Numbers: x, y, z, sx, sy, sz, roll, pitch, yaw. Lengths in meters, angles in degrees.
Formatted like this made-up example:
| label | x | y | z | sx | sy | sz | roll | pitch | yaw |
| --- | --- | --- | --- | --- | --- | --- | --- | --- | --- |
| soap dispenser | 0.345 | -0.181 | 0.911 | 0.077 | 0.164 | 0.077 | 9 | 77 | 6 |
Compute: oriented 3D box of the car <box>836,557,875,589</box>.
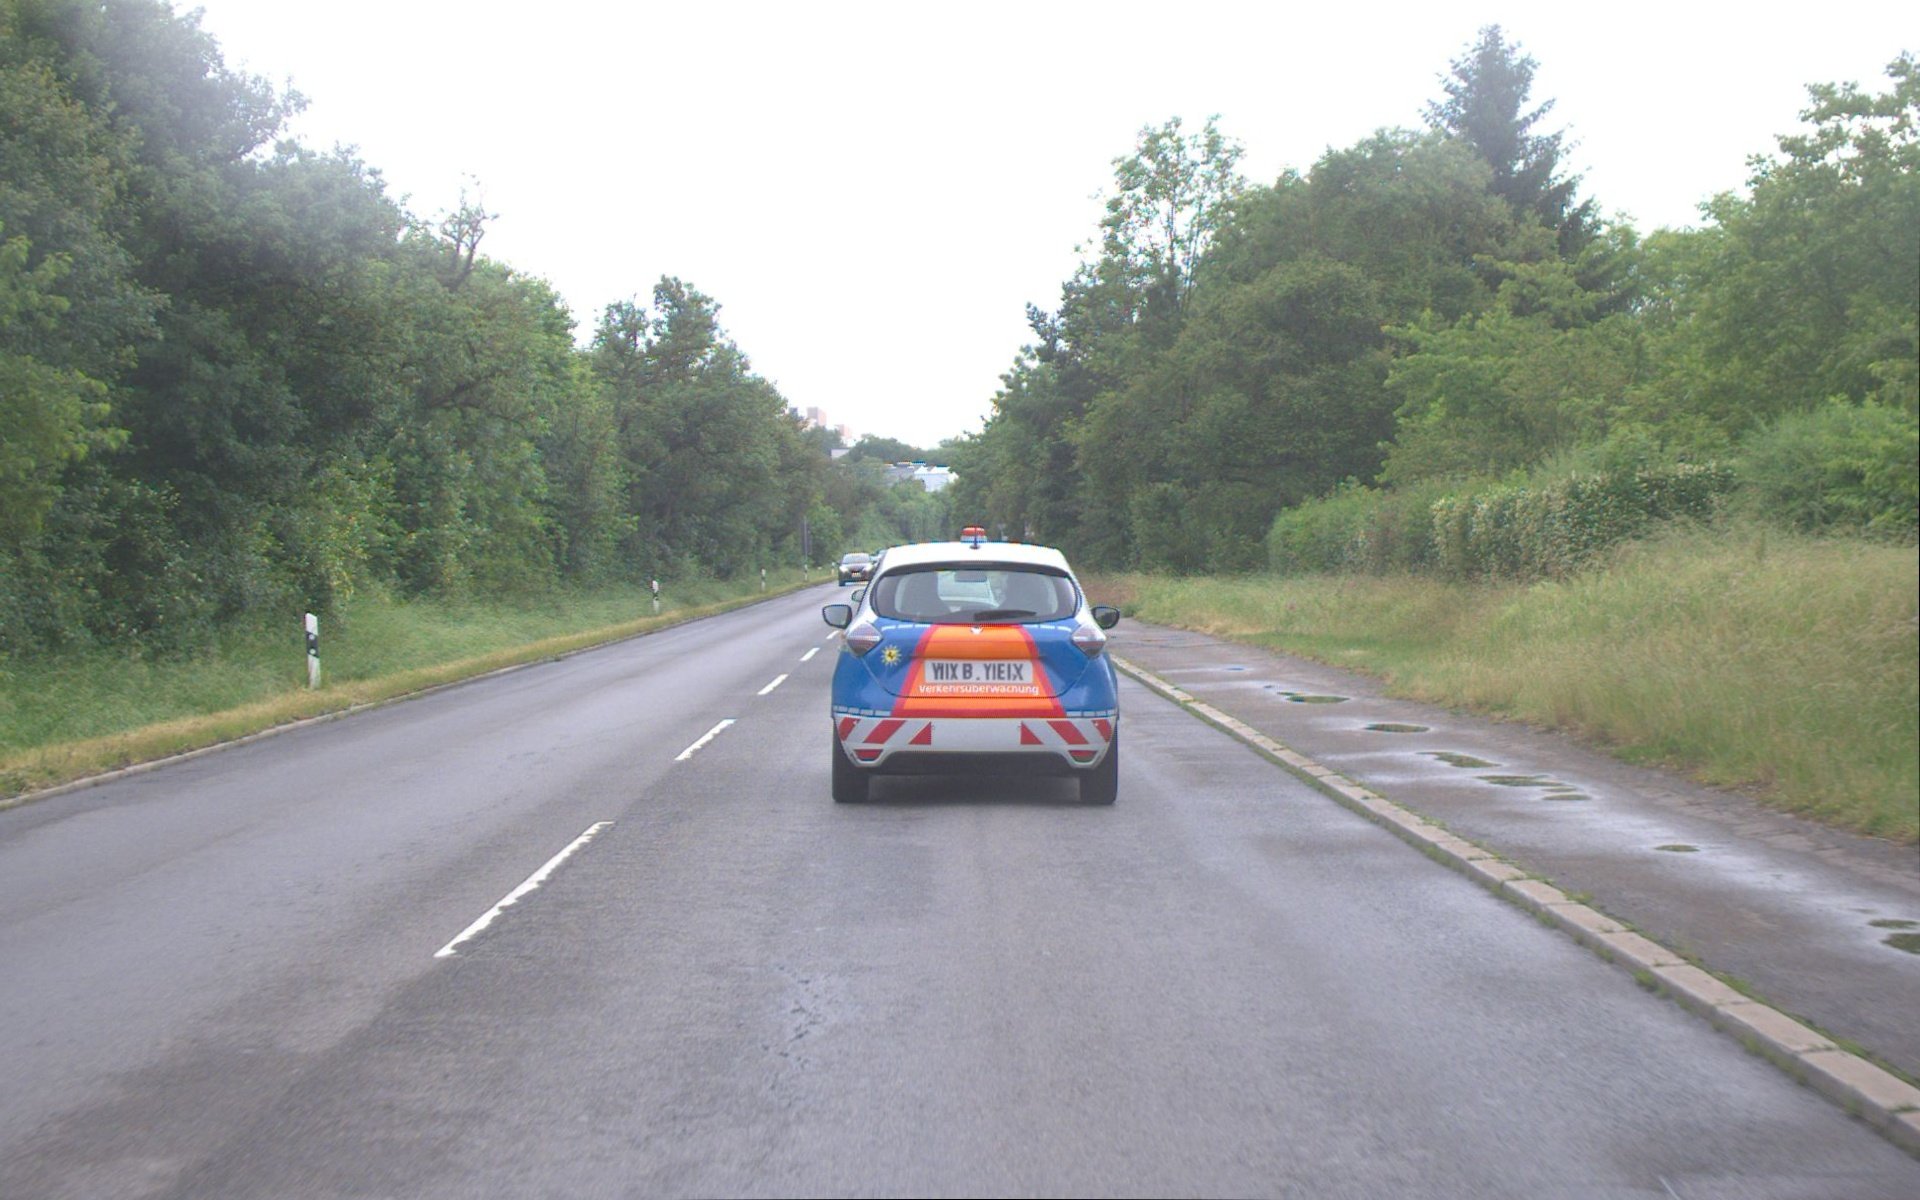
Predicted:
| label | x | y | z | sx | sy | sz | roll | pitch | yaw |
| --- | --- | --- | --- | --- | --- | --- | --- | --- | --- |
| car | -5.333 | -1.378 | 175.913 | 1.905 | 1.551 | 4.516 | -2 | 1 | 0 |

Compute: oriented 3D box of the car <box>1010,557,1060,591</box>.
| label | x | y | z | sx | sy | sz | roll | pitch | yaw |
| --- | --- | --- | --- | --- | --- | --- | --- | --- | --- |
| car | 3.123 | -1.111 | 144.477 | 1.993 | 1.371 | 4.000 | -2 | 1 | 0 |

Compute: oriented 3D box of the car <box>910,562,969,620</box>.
| label | x | y | z | sx | sy | sz | roll | pitch | yaw |
| --- | --- | --- | --- | --- | --- | --- | --- | --- | --- |
| car | -0.634 | -0.309 | 107.645 | 1.789 | 1.714 | 4.000 | -2 | 1 | 0 |

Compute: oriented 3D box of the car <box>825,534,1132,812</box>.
| label | x | y | z | sx | sy | sz | roll | pitch | yaw |
| --- | --- | --- | --- | --- | --- | --- | --- | --- | --- |
| car | 0.084 | 0.383 | 21.603 | 1.752 | 1.550 | 3.793 | 0 | 2 | -1 |

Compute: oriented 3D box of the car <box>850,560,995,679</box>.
| label | x | y | z | sx | sy | sz | roll | pitch | yaw |
| --- | --- | --- | --- | --- | --- | --- | --- | --- | --- |
| car | -0.416 | 0.199 | 40.412 | 1.598 | 1.282 | 3.476 | -2 | 1 | 0 |

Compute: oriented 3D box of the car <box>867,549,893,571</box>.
| label | x | y | z | sx | sy | sz | roll | pitch | yaw |
| --- | --- | --- | --- | --- | --- | --- | --- | --- | --- |
| car | -5.432 | -2.692 | 233.859 | 1.710 | 1.394 | 4.150 | -3 | 1 | -1 |
